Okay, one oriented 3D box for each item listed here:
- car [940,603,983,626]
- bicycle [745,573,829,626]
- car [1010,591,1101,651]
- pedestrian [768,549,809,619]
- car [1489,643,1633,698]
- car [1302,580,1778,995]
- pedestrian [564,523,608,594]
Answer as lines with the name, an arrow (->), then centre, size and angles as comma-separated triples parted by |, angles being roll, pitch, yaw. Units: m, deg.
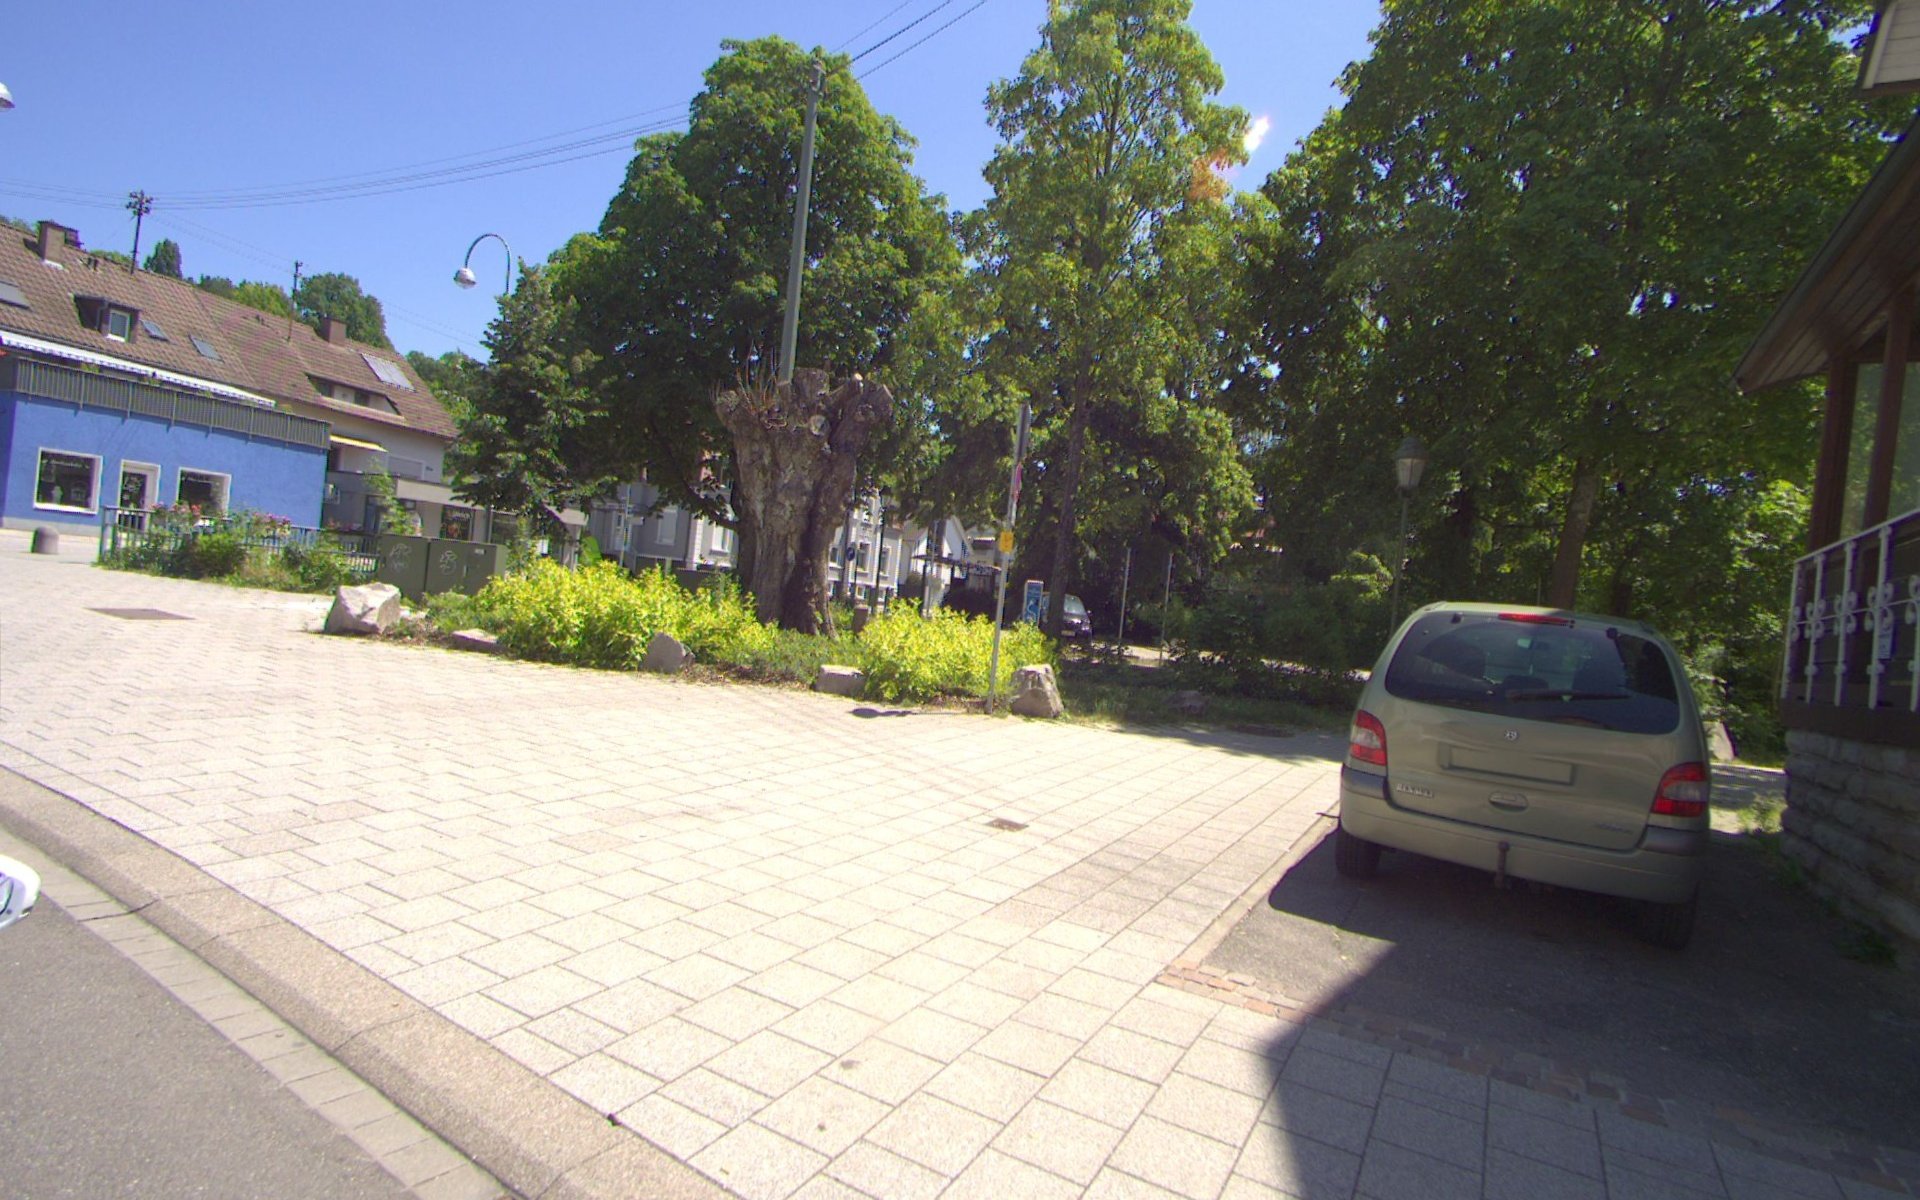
car -> 0.116, 1.134, 78.870 | 1.747, 1.571, 3.672 | 5, 0, 28
bicycle -> -4.267, -0.010, 24.889 | 1.815, 1.097, 0.747 | 6, 1, 3
car -> 2.775, 0.578, 30.139 | 1.645, 1.472, 3.754 | 6, 1, -10
pedestrian -> -4.226, -0.385, 24.856 | 0.705, 1.653, 0.747 | 6, 1, 3
car -> 34.207, 3.973, 57.552 | 2.169, 2.267, 6.712 | 5, 1, -30
car -> 3.625, 0.844, 6.436 | 1.772, 1.616, 4.062 | 7, 2, 31
pedestrian -> -10.131, -1.131, 27.270 | 0.669, 1.824, 0.736 | 8, 4, 34
